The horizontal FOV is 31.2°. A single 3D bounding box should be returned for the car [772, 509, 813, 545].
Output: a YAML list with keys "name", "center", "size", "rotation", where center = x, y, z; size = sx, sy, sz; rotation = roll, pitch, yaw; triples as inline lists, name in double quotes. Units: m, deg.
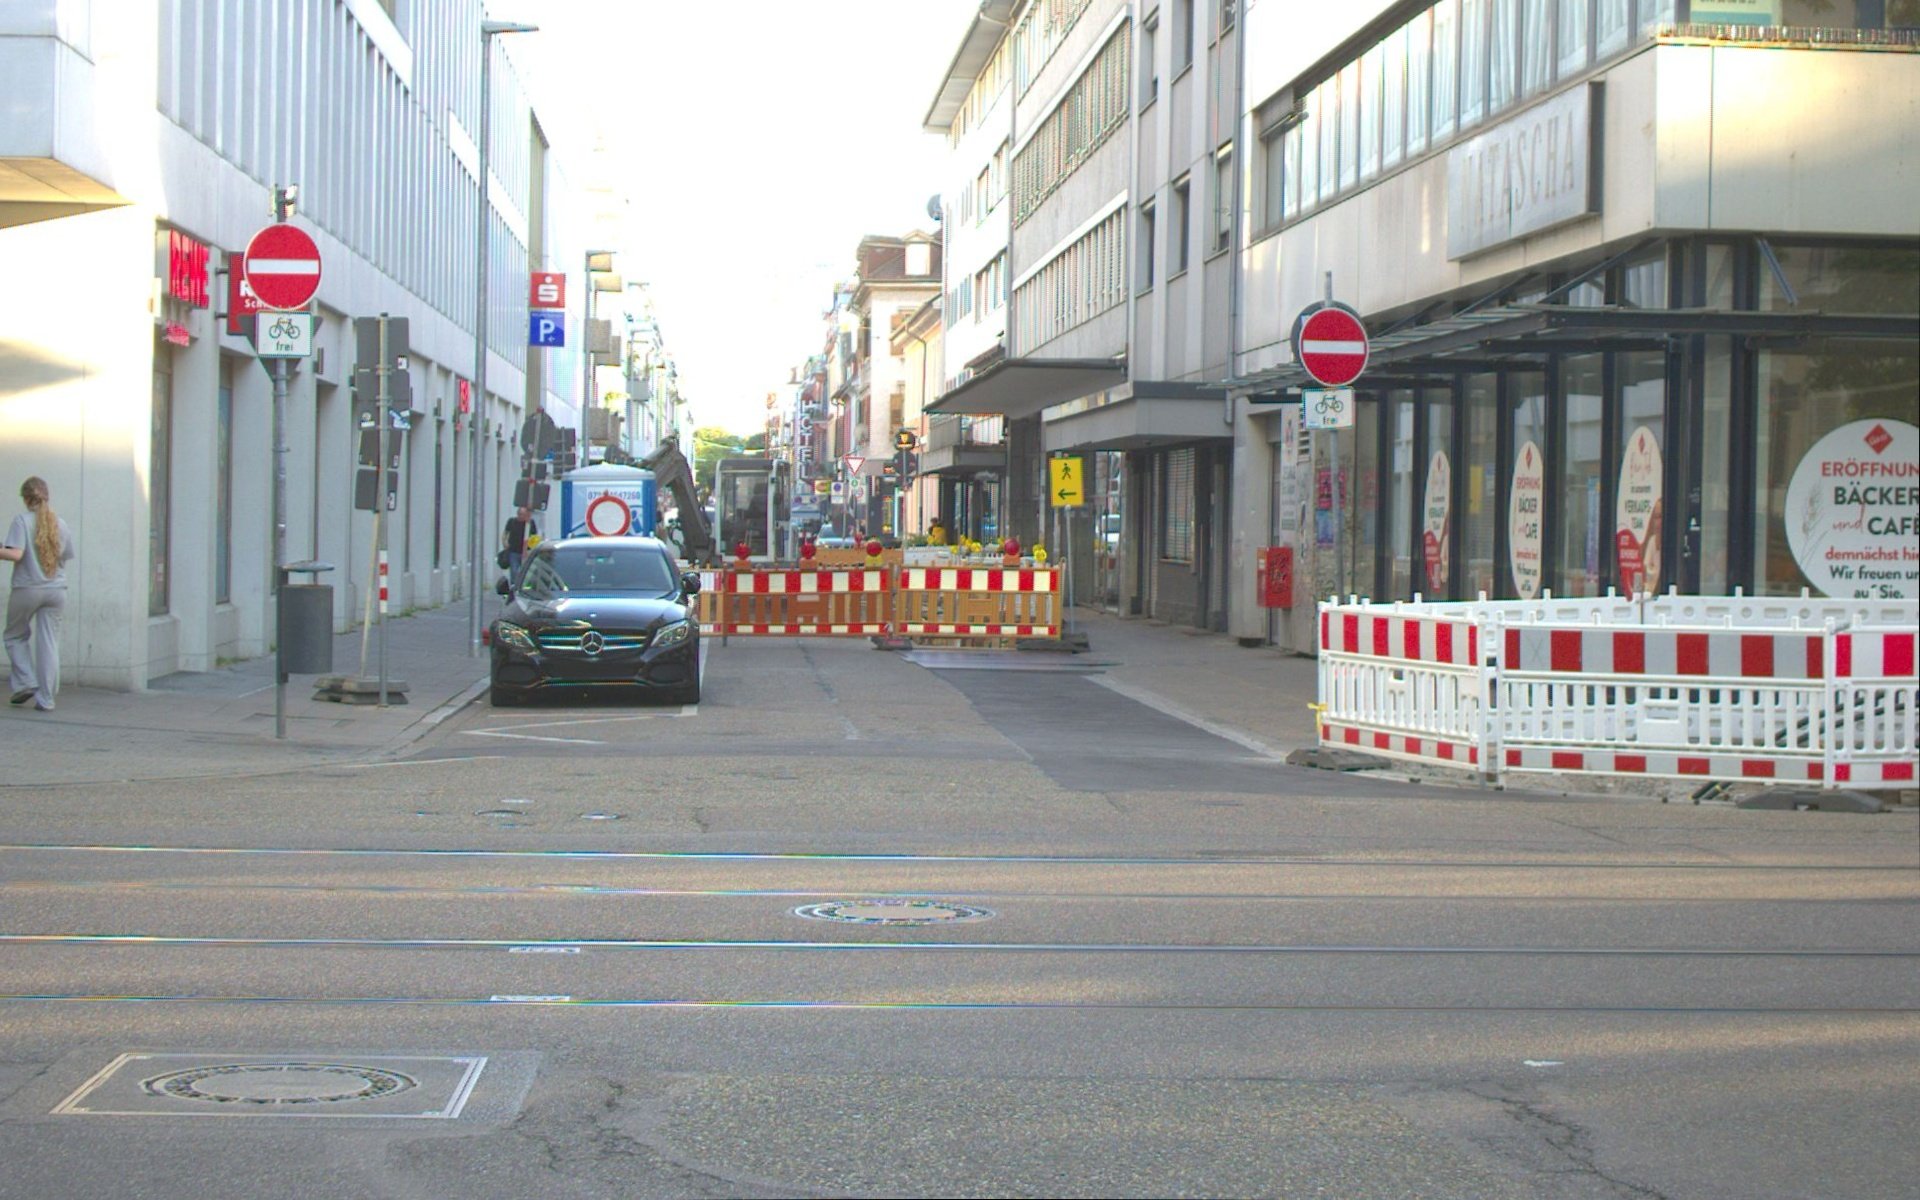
- name: "car"
  center: [-8.283, -3.608, 169.655]
  size: [1.993, 1.770, 4.001]
  rotation: [0, 2, -4]

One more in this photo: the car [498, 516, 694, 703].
- name: "car"
  center: [-3.244, 0.043, 30.377]
  size: [1.629, 1.545, 3.143]
  rotation: [0, 2, -7]

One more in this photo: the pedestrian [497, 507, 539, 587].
- name: "pedestrian"
  center: [-8.172, -0.979, 63.526]
  size: [0.716, 1.459, 0.525]
  rotation: [0, 1, -1]

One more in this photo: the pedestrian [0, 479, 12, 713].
- name: "pedestrian"
  center: [-7.057, -0.035, 24.101]
  size: [0.609, 1.622, 0.873]
  rotation: [-1, 2, -28]

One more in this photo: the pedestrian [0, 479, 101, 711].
- name: "pedestrian"
  center: [-6.538, -0.051, 24.492]
  size: [0.609, 1.622, 0.873]
  rotation: [-1, 2, -28]

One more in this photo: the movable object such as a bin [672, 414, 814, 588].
- name: "movable object such as a bin"
  center: [-3.526, -1.594, 55.578]
  size: [2.156, 2.654, 4.573]
  rotation: [1, 1, -4]

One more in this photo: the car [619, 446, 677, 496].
- name: "car"
  center: [-11.298, -4.679, 124.793]
  size: [1.993, 1.770, 4.001]
  rotation: [0, 2, -4]

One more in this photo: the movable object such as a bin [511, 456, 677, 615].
- name: "movable object such as a bin"
  center: [-4.807, -0.875, 45.571]
  size: [1.993, 2.006, 4.001]
  rotation: [0, 2, -3]

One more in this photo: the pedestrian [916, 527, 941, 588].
- name: "pedestrian"
  center: [-0.759, -1.027, 82.457]
  size: [0.524, 1.459, 0.718]
  rotation: [1, 1, 4]
